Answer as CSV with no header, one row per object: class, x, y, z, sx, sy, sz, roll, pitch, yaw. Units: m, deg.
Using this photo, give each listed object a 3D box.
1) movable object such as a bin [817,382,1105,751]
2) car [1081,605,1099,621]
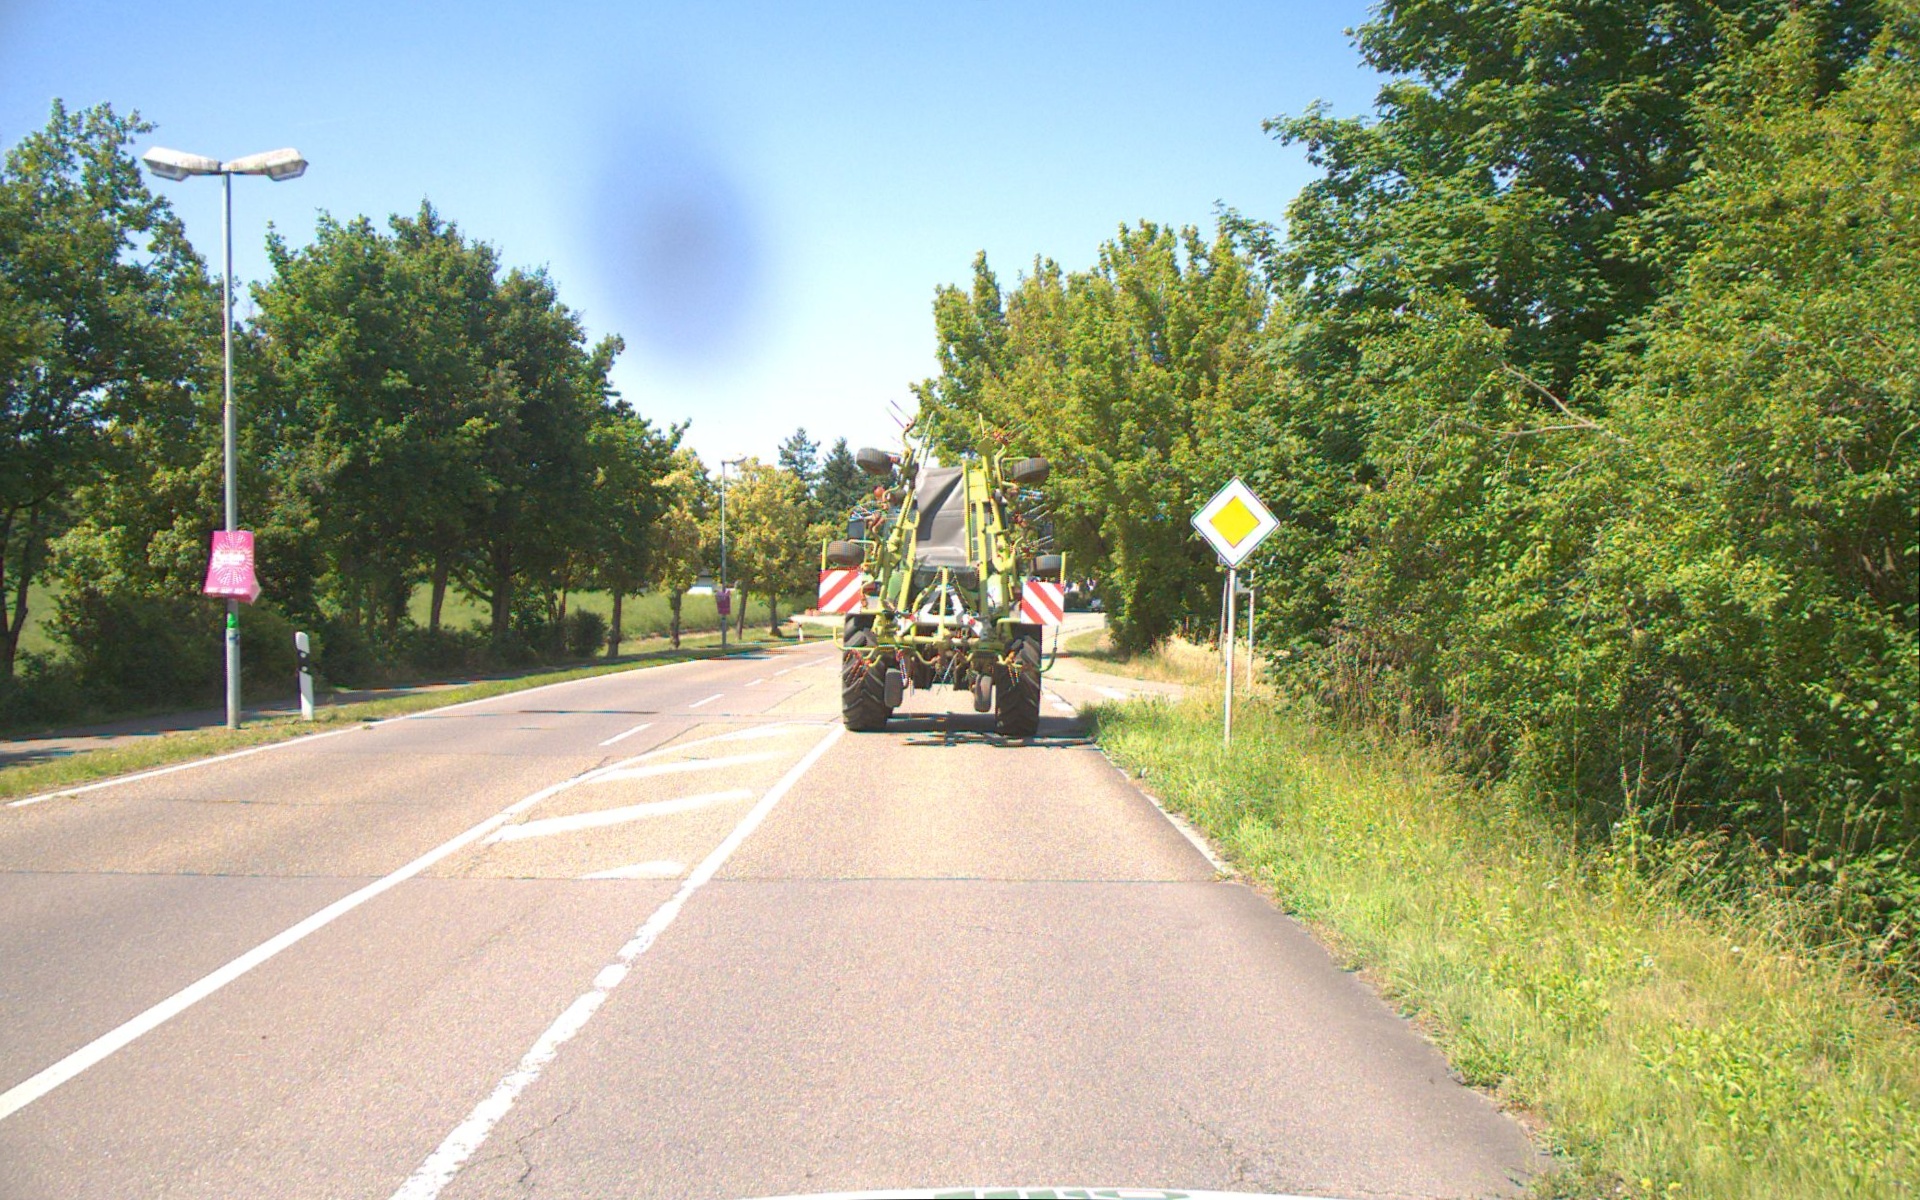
movable object such as a bin,-0.171,-0.380,21.269,2.795,3.603,9.697,1,1,-2
car,13.233,1.331,168.516,1.614,1.458,3.900,2,1,7
